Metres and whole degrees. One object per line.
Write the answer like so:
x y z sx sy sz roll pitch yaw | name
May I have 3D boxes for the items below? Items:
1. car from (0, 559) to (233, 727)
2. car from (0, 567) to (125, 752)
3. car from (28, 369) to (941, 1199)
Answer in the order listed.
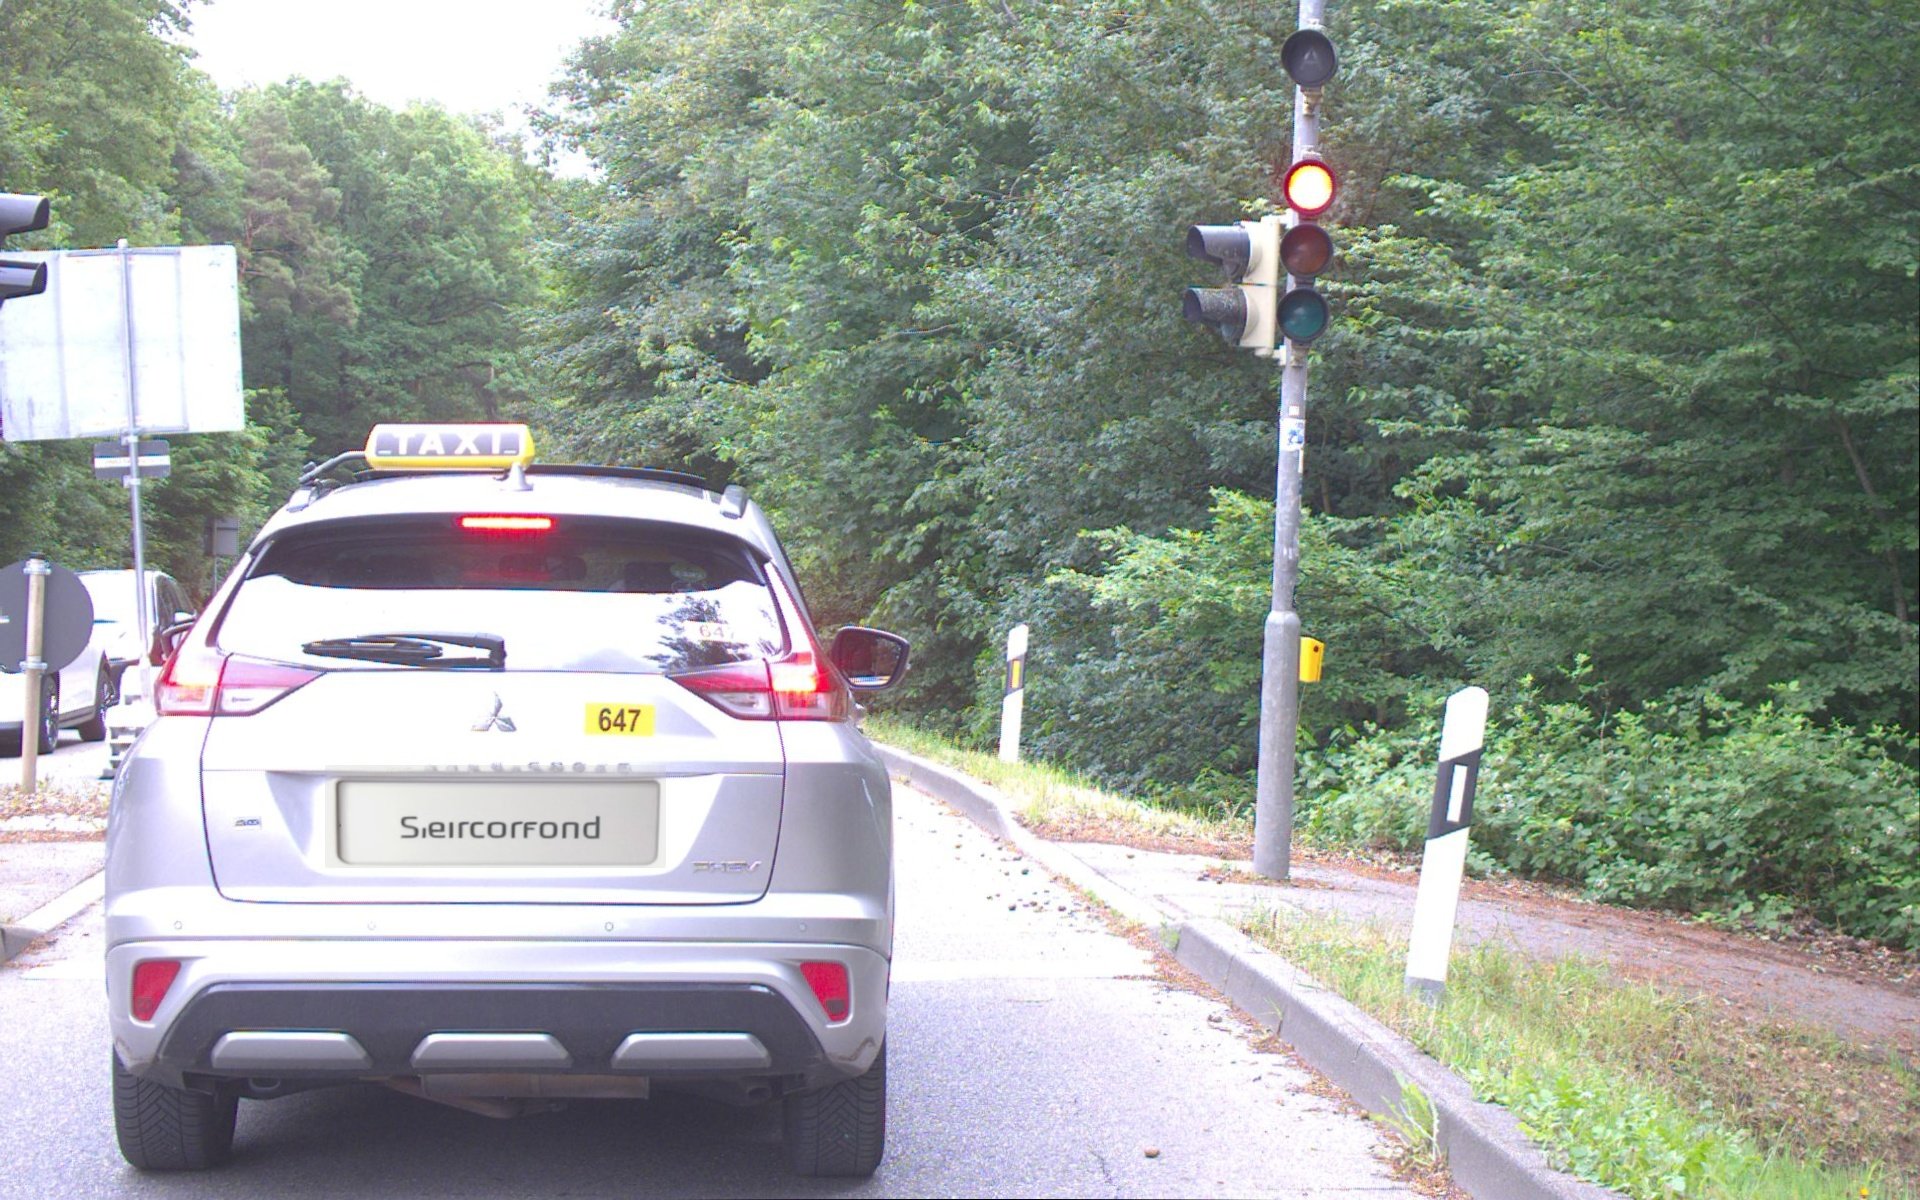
-8.322 0.389 33.516 1.811 1.503 3.722 -2 0 -3 | car
-7.879 0.446 27.536 1.612 1.317 3.722 -2 2 -3 | car
-1.185 0.402 9.150 1.846 1.774 4.001 1 1 -6 | car
